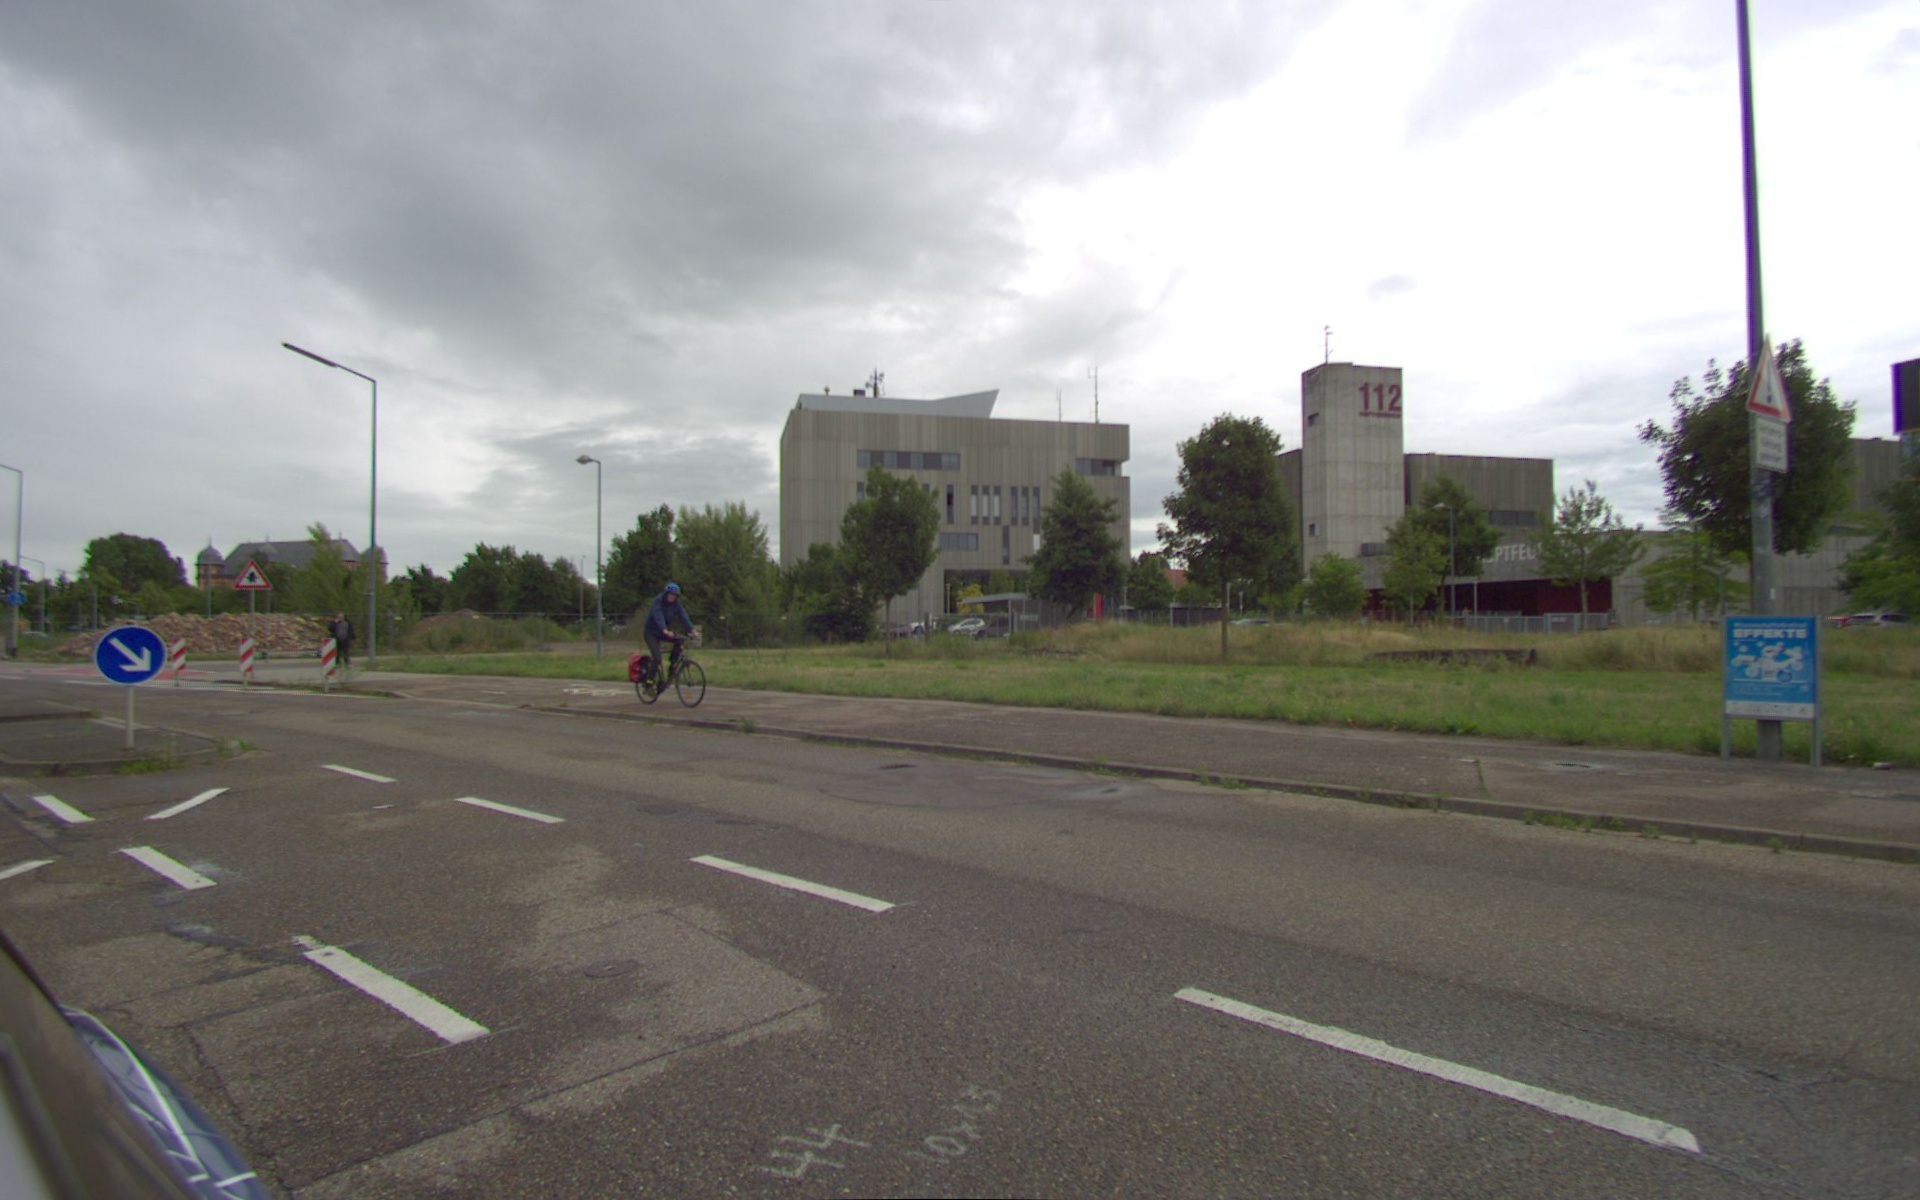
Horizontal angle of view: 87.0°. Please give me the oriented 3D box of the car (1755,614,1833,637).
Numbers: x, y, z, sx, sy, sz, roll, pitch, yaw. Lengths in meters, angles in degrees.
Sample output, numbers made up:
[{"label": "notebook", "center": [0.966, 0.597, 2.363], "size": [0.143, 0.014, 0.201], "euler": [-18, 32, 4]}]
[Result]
[{"label": "car", "center": [60.959, 1.884, 74.038], "size": [1.779, 1.535, 4.012], "euler": [1, -4, -20]}]

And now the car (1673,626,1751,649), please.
[{"label": "car", "center": [53.545, 2.680, 72.137], "size": [1.965, 1.535, 4.012], "euler": [1, -4, -19]}]

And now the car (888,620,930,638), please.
[{"label": "car", "center": [-5.060, 2.879, 100.451], "size": [3.823, 1.775, 1.732], "euler": [-1, -2, -14]}]

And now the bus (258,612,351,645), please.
[{"label": "bus", "center": [-84.786, 3.675, 131.052], "size": [9.728, 4.013, 2.740], "euler": [-1, -3, -11]}]

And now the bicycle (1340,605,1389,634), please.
[{"label": "bicycle", "center": [23.387, 1.128, 58.526], "size": [2.457, 1.596, 1.090], "euler": [-1, -3, -16]}]

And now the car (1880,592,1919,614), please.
[{"label": "car", "center": [74.721, 0.204, 78.858], "size": [1.965, 1.535, 4.012], "euler": [1, -4, -19]}]

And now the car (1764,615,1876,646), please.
[{"label": "car", "center": [45.534, 1.671, 53.703], "size": [1.965, 1.535, 4.012], "euler": [1, -4, -19]}]

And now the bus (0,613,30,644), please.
[{"label": "bus", "center": [-120.867, 3.575, 125.087], "size": [8.256, 3.676, 2.742], "euler": [-1, -3, -16]}]

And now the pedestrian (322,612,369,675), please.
[{"label": "pedestrian", "center": [-18.095, 1.279, 29.811], "size": [1.075, 1.796, 0.836], "euler": [-3, -3, 36]}]

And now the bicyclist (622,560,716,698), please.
[{"label": "bicyclist", "center": [-4.502, 0.459, 15.646], "size": [1.175, 2.029, 0.853], "euler": [-3, -3, 37]}]

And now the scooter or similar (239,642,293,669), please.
[{"label": "scooter or similar", "center": [-31.039, 2.464, 45.269], "size": [1.872, 1.151, 0.658], "euler": [-1, -1, -10]}]

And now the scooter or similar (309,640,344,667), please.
[{"label": "scooter or similar", "center": [-29.323, 2.471, 46.842], "size": [1.315, 1.151, 0.413], "euler": [0, 0, -25]}]

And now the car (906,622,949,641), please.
[{"label": "car", "center": [-3.161, 3.001, 97.088], "size": [3.823, 1.775, 1.732], "euler": [-1, -2, -14]}]

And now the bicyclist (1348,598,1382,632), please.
[{"label": "bicyclist", "center": [23.424, 0.900, 58.535], "size": [1.378, 1.914, 1.080], "euler": [-1, -3, -16]}]

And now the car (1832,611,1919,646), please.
[{"label": "car", "center": [44.040, 1.367, 47.671], "size": [1.965, 1.535, 4.012], "euler": [1, -4, -19]}]

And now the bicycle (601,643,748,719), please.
[{"label": "bicycle", "center": [-4.424, 1.228, 15.570], "size": [2.464, 1.060, 0.875], "euler": [-3, -3, 37]}]

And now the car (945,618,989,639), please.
[{"label": "car", "center": [0.568, 2.455, 87.192], "size": [3.421, 1.775, 1.732], "euler": [-1, -2, -14]}]
